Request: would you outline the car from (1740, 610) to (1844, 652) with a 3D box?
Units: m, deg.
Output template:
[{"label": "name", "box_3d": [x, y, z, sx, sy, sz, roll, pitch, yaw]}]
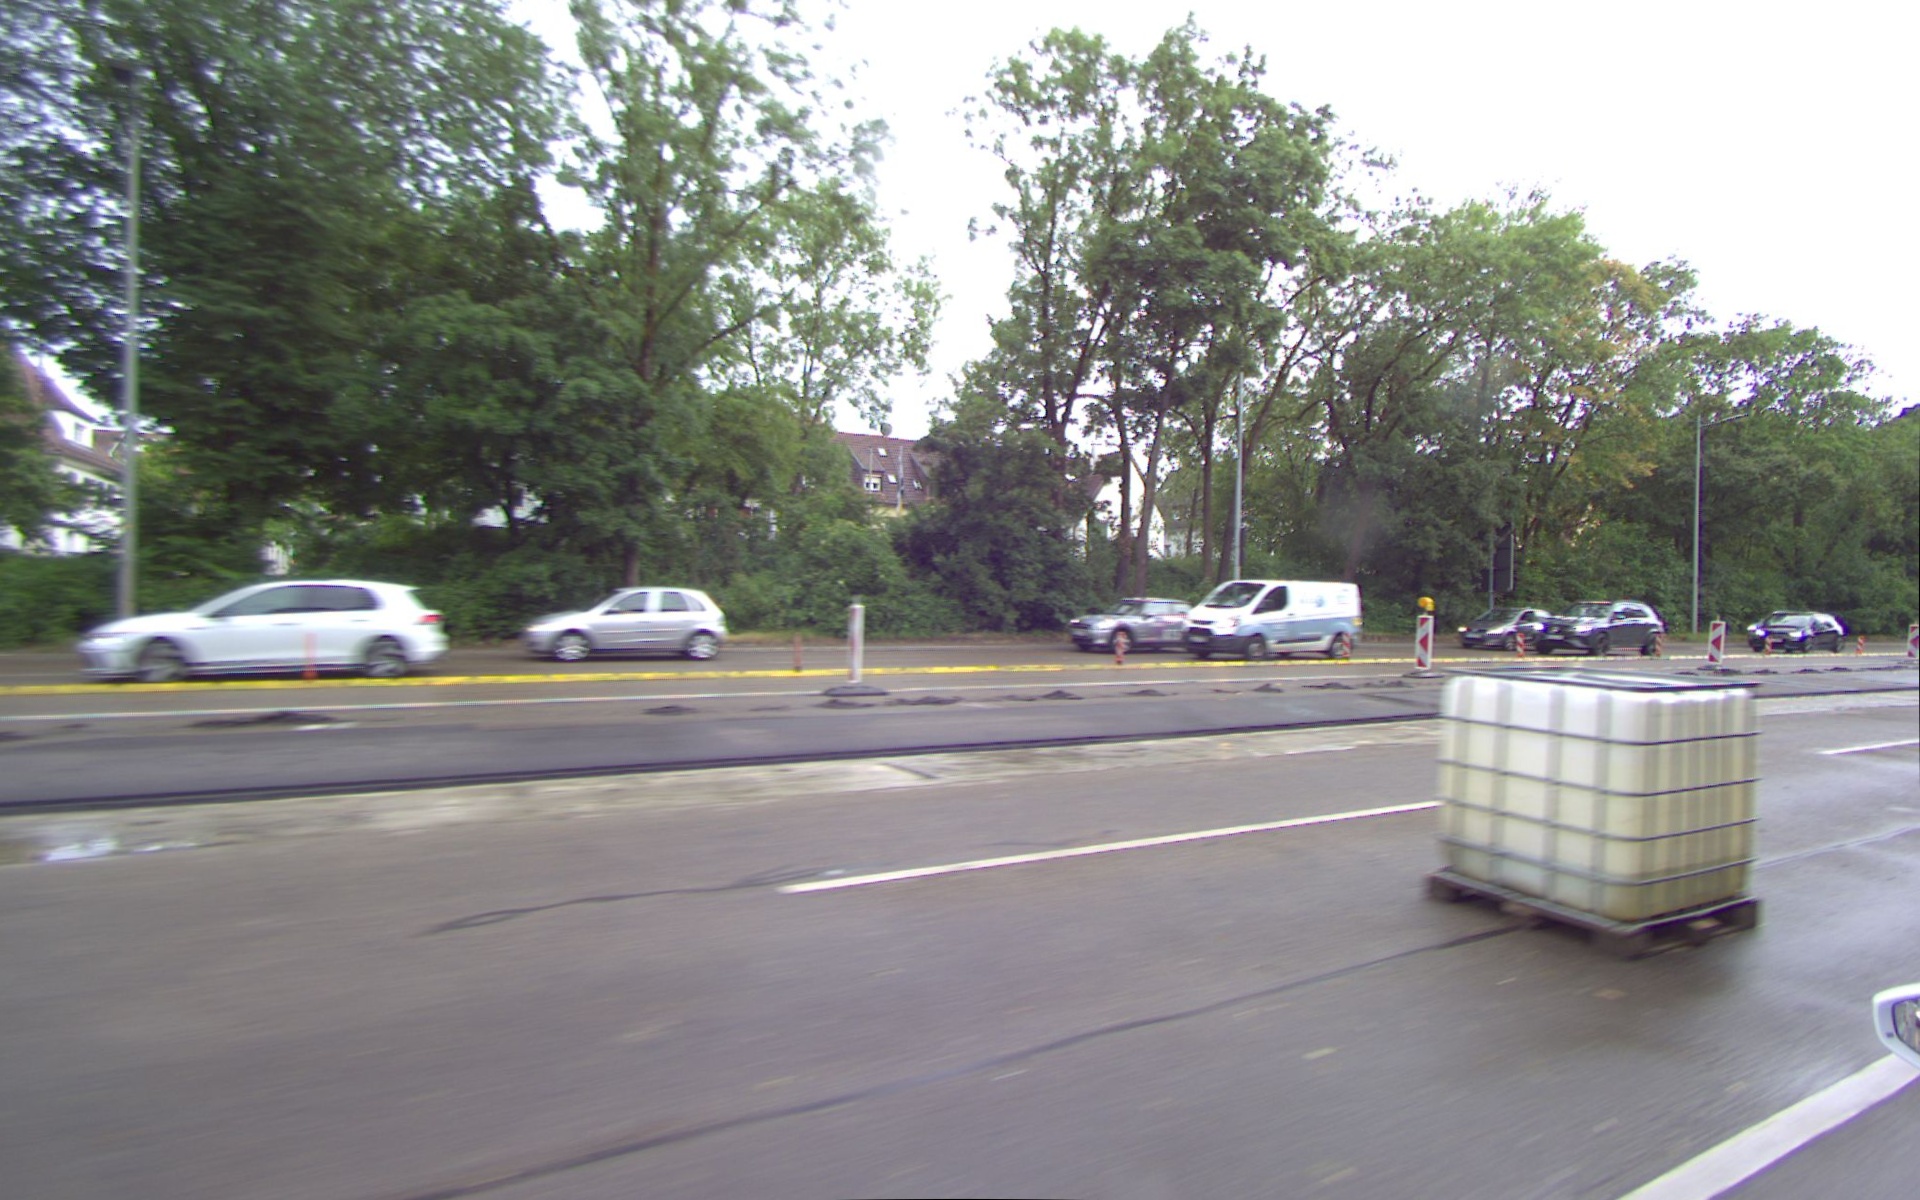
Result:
[{"label": "car", "box_3d": [32.607, 1.214, 39.335, 4.146, 1.507, 1.768, 1, 1, -30]}]

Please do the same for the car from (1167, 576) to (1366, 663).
[{"label": "car", "box_3d": [7.699, 0.472, 25.145, 4.845, 1.998, 1.984, 1, 1, -30]}]

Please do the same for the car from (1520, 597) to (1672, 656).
[{"label": "car", "box_3d": [20.614, 0.853, 32.509, 4.951, 1.749, 2.012, 1, 1, -29]}]

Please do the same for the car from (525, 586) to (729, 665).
[{"label": "car", "box_3d": [-6.587, 0.487, 19.914, 3.595, 1.419, 1.671, 1, 1, -29]}]

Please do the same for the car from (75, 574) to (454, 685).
[{"label": "car", "box_3d": [-10.024, 0.438, 14.931, 4.342, 1.434, 1.984, 2, -1, -31]}]

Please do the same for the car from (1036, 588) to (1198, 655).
[{"label": "car", "box_3d": [4.161, 0.565, 26.483, 3.953, 1.643, 1.818, 2, 1, -30]}]

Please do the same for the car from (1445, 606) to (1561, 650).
[{"label": "car", "box_3d": [18.807, 0.968, 34.764, 3.951, 1.439, 1.638, 1, 1, -29]}]
